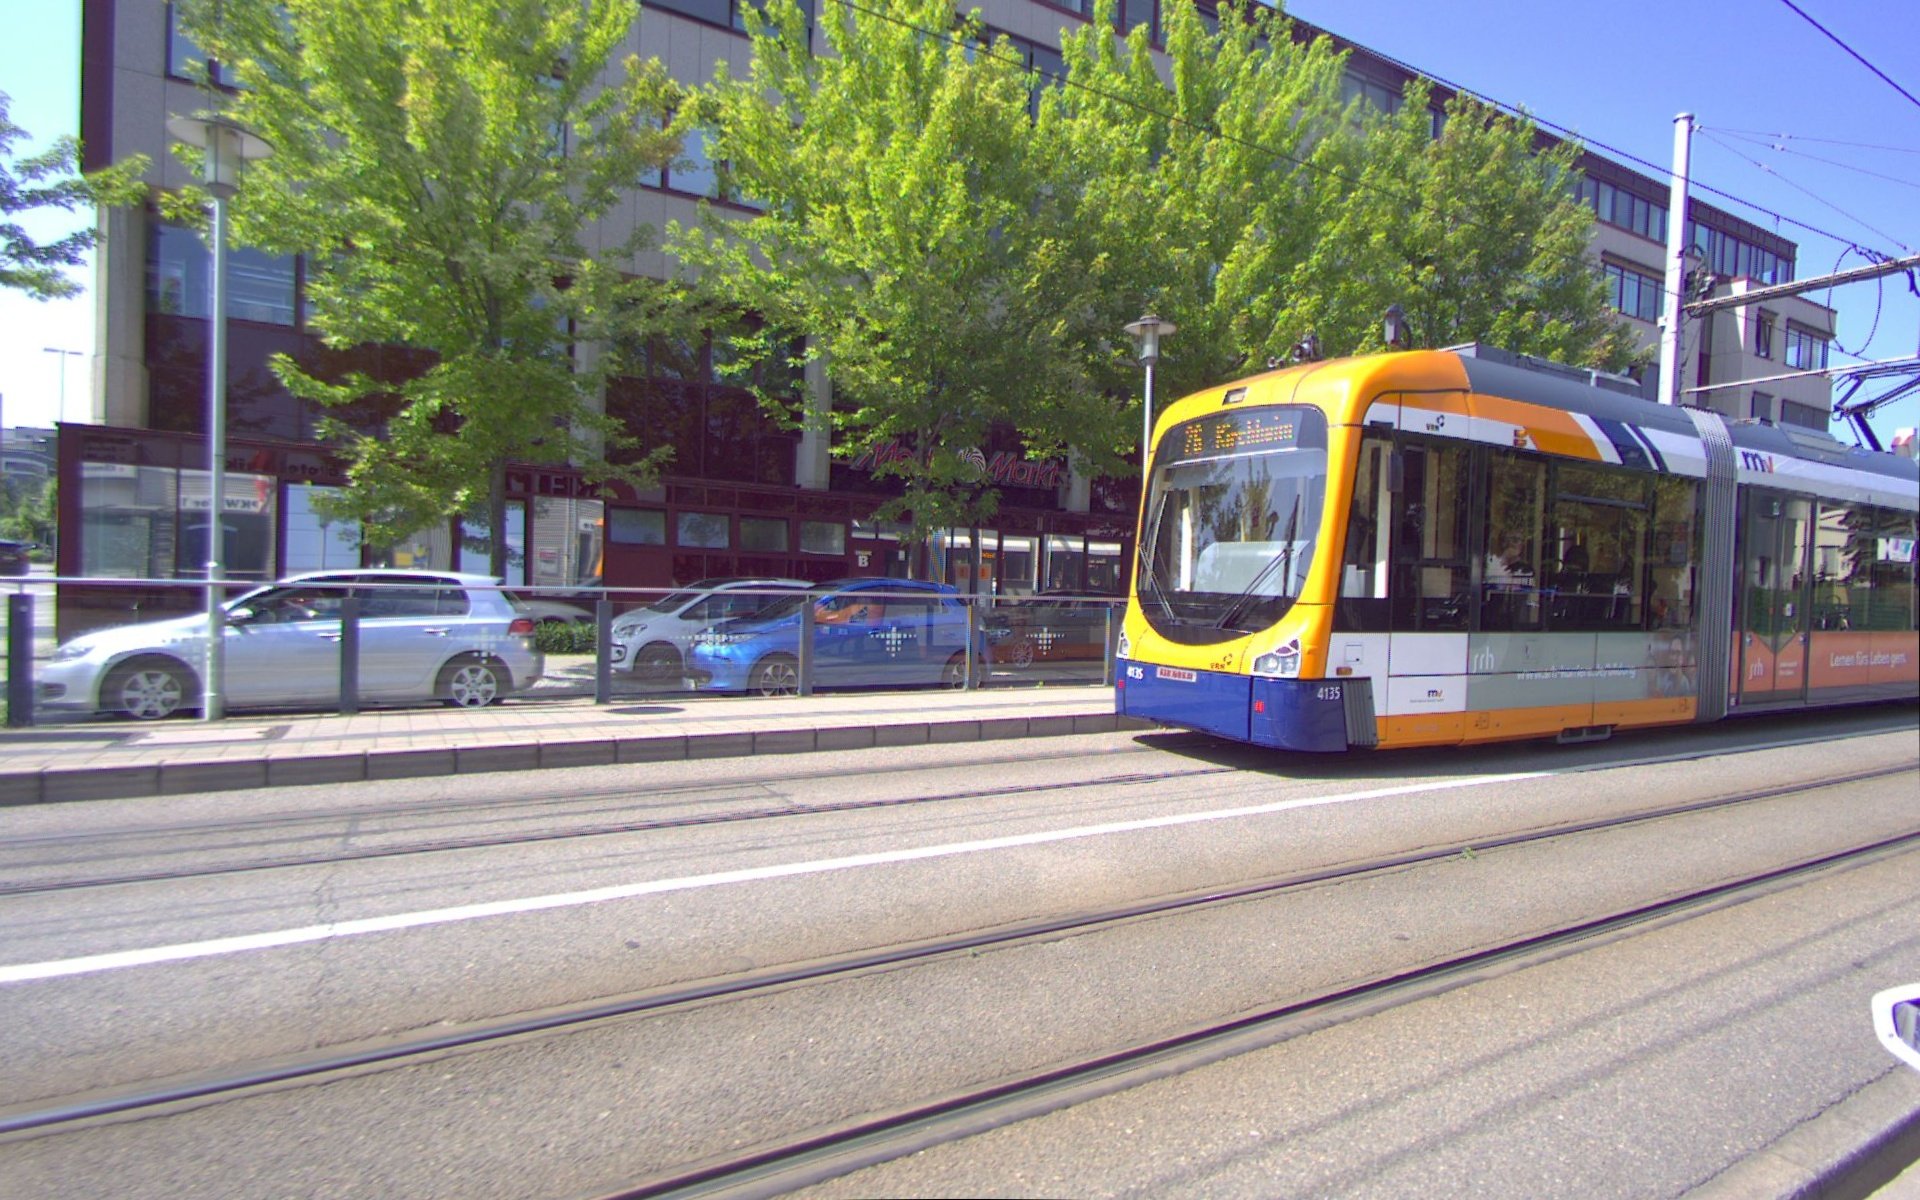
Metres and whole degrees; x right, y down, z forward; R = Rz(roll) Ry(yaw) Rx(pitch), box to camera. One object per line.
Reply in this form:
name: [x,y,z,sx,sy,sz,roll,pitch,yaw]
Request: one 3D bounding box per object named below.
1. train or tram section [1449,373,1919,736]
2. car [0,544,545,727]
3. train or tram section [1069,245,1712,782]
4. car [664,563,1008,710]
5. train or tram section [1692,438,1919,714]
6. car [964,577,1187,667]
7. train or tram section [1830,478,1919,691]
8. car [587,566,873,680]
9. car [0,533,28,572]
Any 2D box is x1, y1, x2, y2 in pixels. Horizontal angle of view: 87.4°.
train or tram section: [8.984,-0.416,12.312,5.776,3.493,2.597,1,1,-31]
car: [-6.543,0.319,10.022,4.231,1.492,1.713,1,0,-32]
train or tram section: [4.091,-0.552,9.309,5.677,3.580,2.597,1,1,-31]
car: [-1.521,0.440,12.789,4.025,1.605,1.714,1,-1,-32]
train or tram section: [13.675,-0.292,15.054,4.953,3.493,2.597,1,1,-31]
car: [2.230,0.405,19.218,3.952,1.539,1.752,1,2,-30]
train or tram section: [18.832,-0.195,18.161,7.055,3.493,2.567,1,1,-31]
car: [-3.439,0.312,15.109,3.857,1.483,1.714,1,3,-30]
car: [-39.206,-1.933,39.488,4.154,1.471,1.723,2,2,13]
